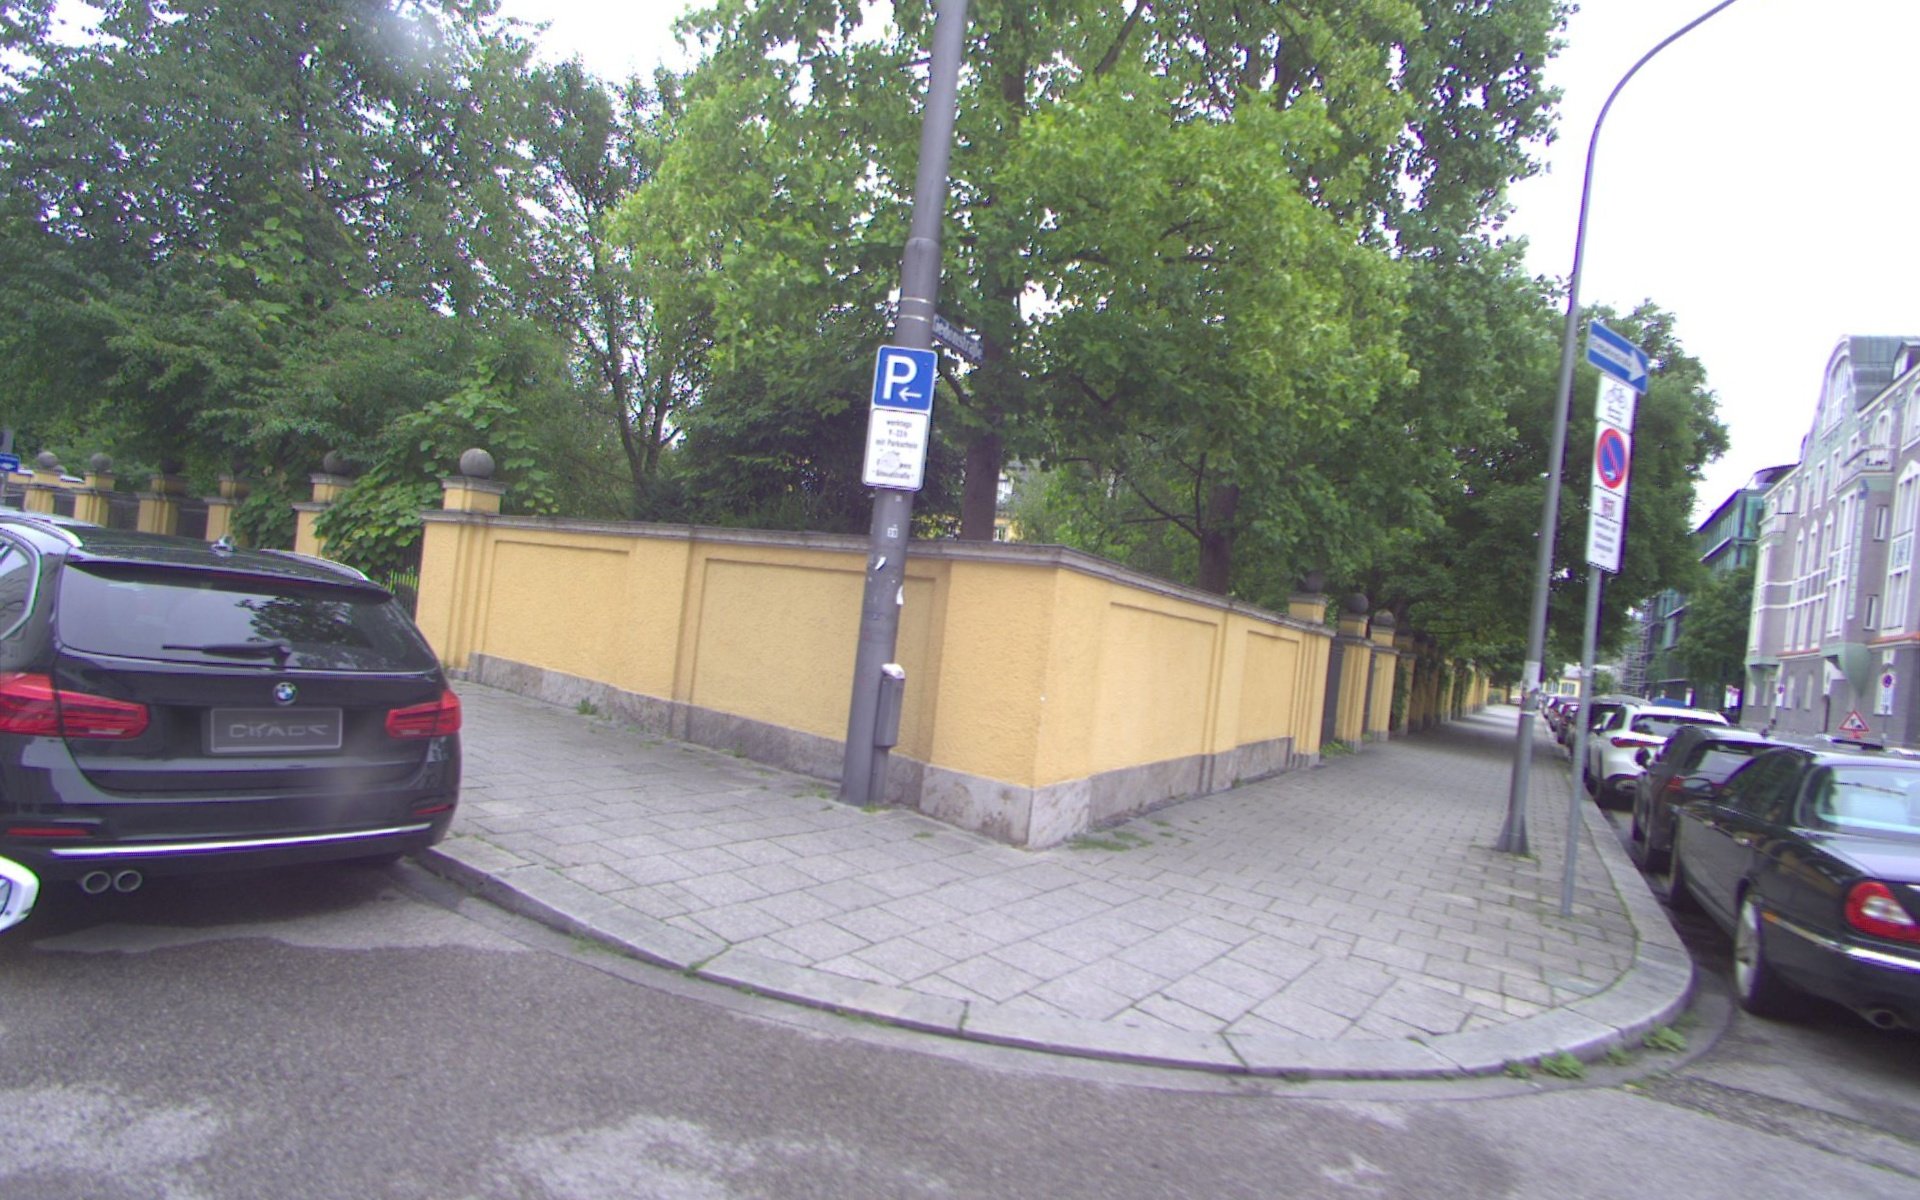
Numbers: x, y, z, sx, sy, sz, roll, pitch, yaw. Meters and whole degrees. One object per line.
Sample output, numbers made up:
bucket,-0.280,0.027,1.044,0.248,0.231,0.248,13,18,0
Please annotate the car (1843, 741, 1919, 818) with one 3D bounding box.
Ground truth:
car,22.623,4.288,23.683,1.931,1.423,4.242,8,0,32

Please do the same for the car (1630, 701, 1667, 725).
car,57.094,9.375,83.456,1.966,1.640,4.603,5,-2,29

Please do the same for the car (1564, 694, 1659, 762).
car,19.533,3.783,30.344,1.966,1.640,4.603,5,-2,29

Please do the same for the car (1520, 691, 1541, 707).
car,67.896,11.744,119.726,1.966,1.640,4.603,5,-2,29

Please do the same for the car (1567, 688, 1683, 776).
car,16.704,3.252,25.485,1.977,1.798,4.378,5,-2,29

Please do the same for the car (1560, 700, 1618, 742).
car,29.462,5.631,47.246,1.966,1.640,4.603,5,-2,29

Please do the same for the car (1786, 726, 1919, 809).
car,24.832,4.576,28.123,1.931,1.669,4.242,8,0,32

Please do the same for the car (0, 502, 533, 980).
car,-4.110,0.361,4.866,4.279,1.429,1.839,5,-3,39

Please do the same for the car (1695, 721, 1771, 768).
car,35.304,6.558,46.070,1.966,1.640,4.603,5,-2,29

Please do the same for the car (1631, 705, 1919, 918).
car,8.376,1.983,10.681,1.892,1.500,4.598,5,-2,33

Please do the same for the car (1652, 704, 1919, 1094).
car,5.608,1.505,5.992,1.833,1.500,4.923,5,-2,29

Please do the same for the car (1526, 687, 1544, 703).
car,77.209,12.828,135.172,1.879,1.891,4.603,5,-2,29

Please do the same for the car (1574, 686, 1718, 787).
car,14.281,2.771,21.193,1.966,1.640,4.603,5,-2,29

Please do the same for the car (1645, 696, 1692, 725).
car,47.897,7.445,68.080,1.966,1.640,4.603,5,-2,29

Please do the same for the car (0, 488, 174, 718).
car,-7.976,-0.112,7.940,3.736,1.536,1.654,5,-3,35

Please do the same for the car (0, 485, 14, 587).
car,-11.673,-0.541,10.747,3.618,1.680,1.515,5,-3,36

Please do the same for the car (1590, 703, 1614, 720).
car,76.801,13.343,120.380,1.966,1.640,4.603,6,-2,29

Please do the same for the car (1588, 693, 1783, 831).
car,11.445,2.446,16.209,1.967,1.640,4.602,5,-2,30

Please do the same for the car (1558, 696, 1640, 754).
car,21.974,4.249,34.753,1.966,1.640,4.603,5,-2,29

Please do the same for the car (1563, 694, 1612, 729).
car,34.998,6.200,56.240,1.966,1.640,4.603,5,-2,29

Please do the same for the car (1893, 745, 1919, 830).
car,20.379,3.958,19.829,1.931,1.669,4.242,8,0,32
